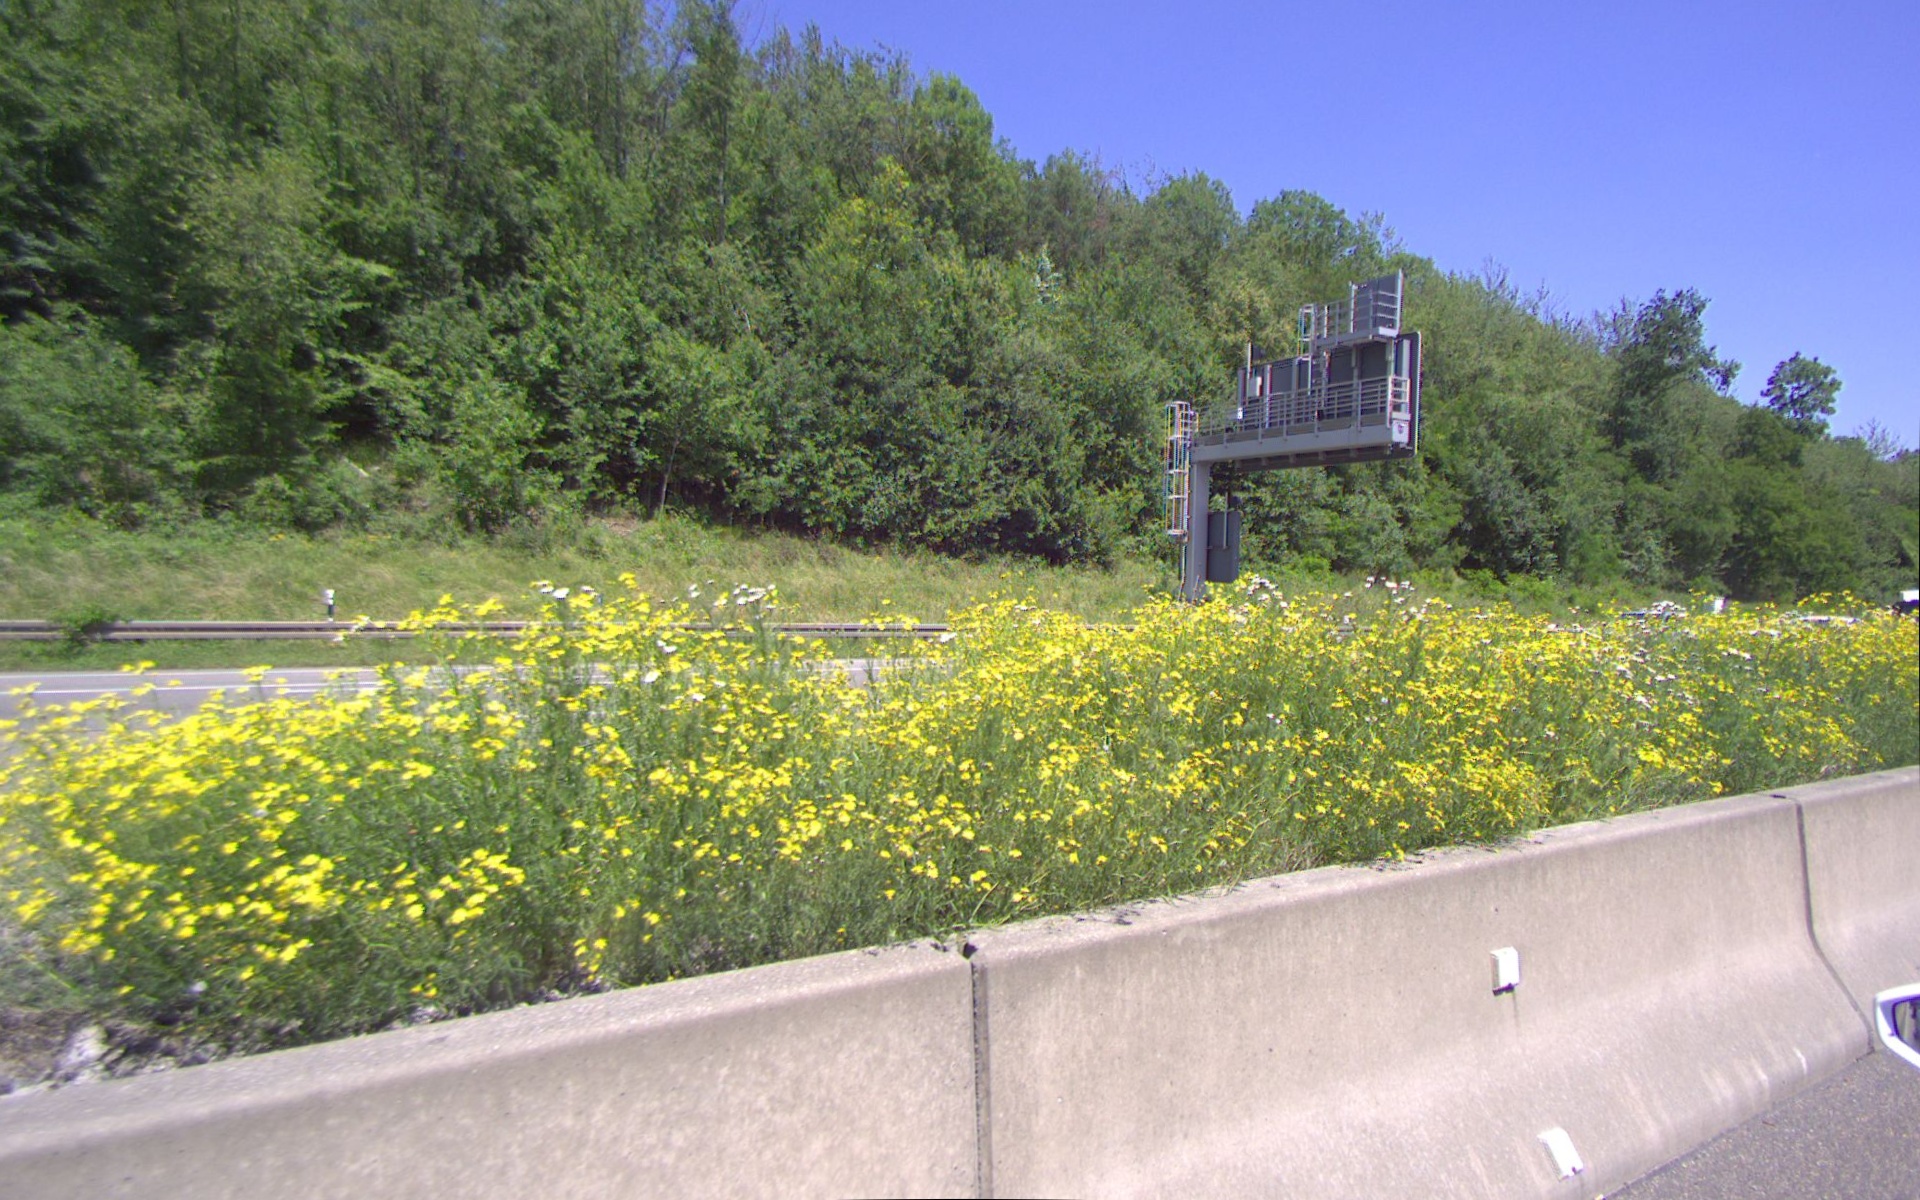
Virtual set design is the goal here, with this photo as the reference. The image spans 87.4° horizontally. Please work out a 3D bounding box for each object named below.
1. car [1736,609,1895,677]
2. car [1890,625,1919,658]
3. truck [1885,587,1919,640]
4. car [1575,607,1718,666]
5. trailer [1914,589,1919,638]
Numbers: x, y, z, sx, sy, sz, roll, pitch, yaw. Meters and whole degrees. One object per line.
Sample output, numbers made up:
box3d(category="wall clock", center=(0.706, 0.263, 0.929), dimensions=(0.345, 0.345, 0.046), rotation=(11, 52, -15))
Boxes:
box3d(category="car", center=(22.409, 1.088, 26.293), dimensions=(3.953, 1.596, 1.984), rotation=(1, 0, -31))
box3d(category="car", center=(45.507, 1.948, 47.155), dimensions=(3.500, 1.473, 1.779), rotation=(1, 0, -31))
box3d(category="truck", center=(58.233, 0.821, 60.063), dimensions=(7.376, 3.045, 2.393), rotation=(1, 0, -32))
box3d(category="car", center=(20.236, 1.051, 29.578), dimensions=(3.953, 1.596, 1.984), rotation=(1, 0, -31))
box3d(category="trailer", center=(62.473, 0.901, 62.719), dimensions=(7.376, 3.045, 2.393), rotation=(1, 0, -32))
